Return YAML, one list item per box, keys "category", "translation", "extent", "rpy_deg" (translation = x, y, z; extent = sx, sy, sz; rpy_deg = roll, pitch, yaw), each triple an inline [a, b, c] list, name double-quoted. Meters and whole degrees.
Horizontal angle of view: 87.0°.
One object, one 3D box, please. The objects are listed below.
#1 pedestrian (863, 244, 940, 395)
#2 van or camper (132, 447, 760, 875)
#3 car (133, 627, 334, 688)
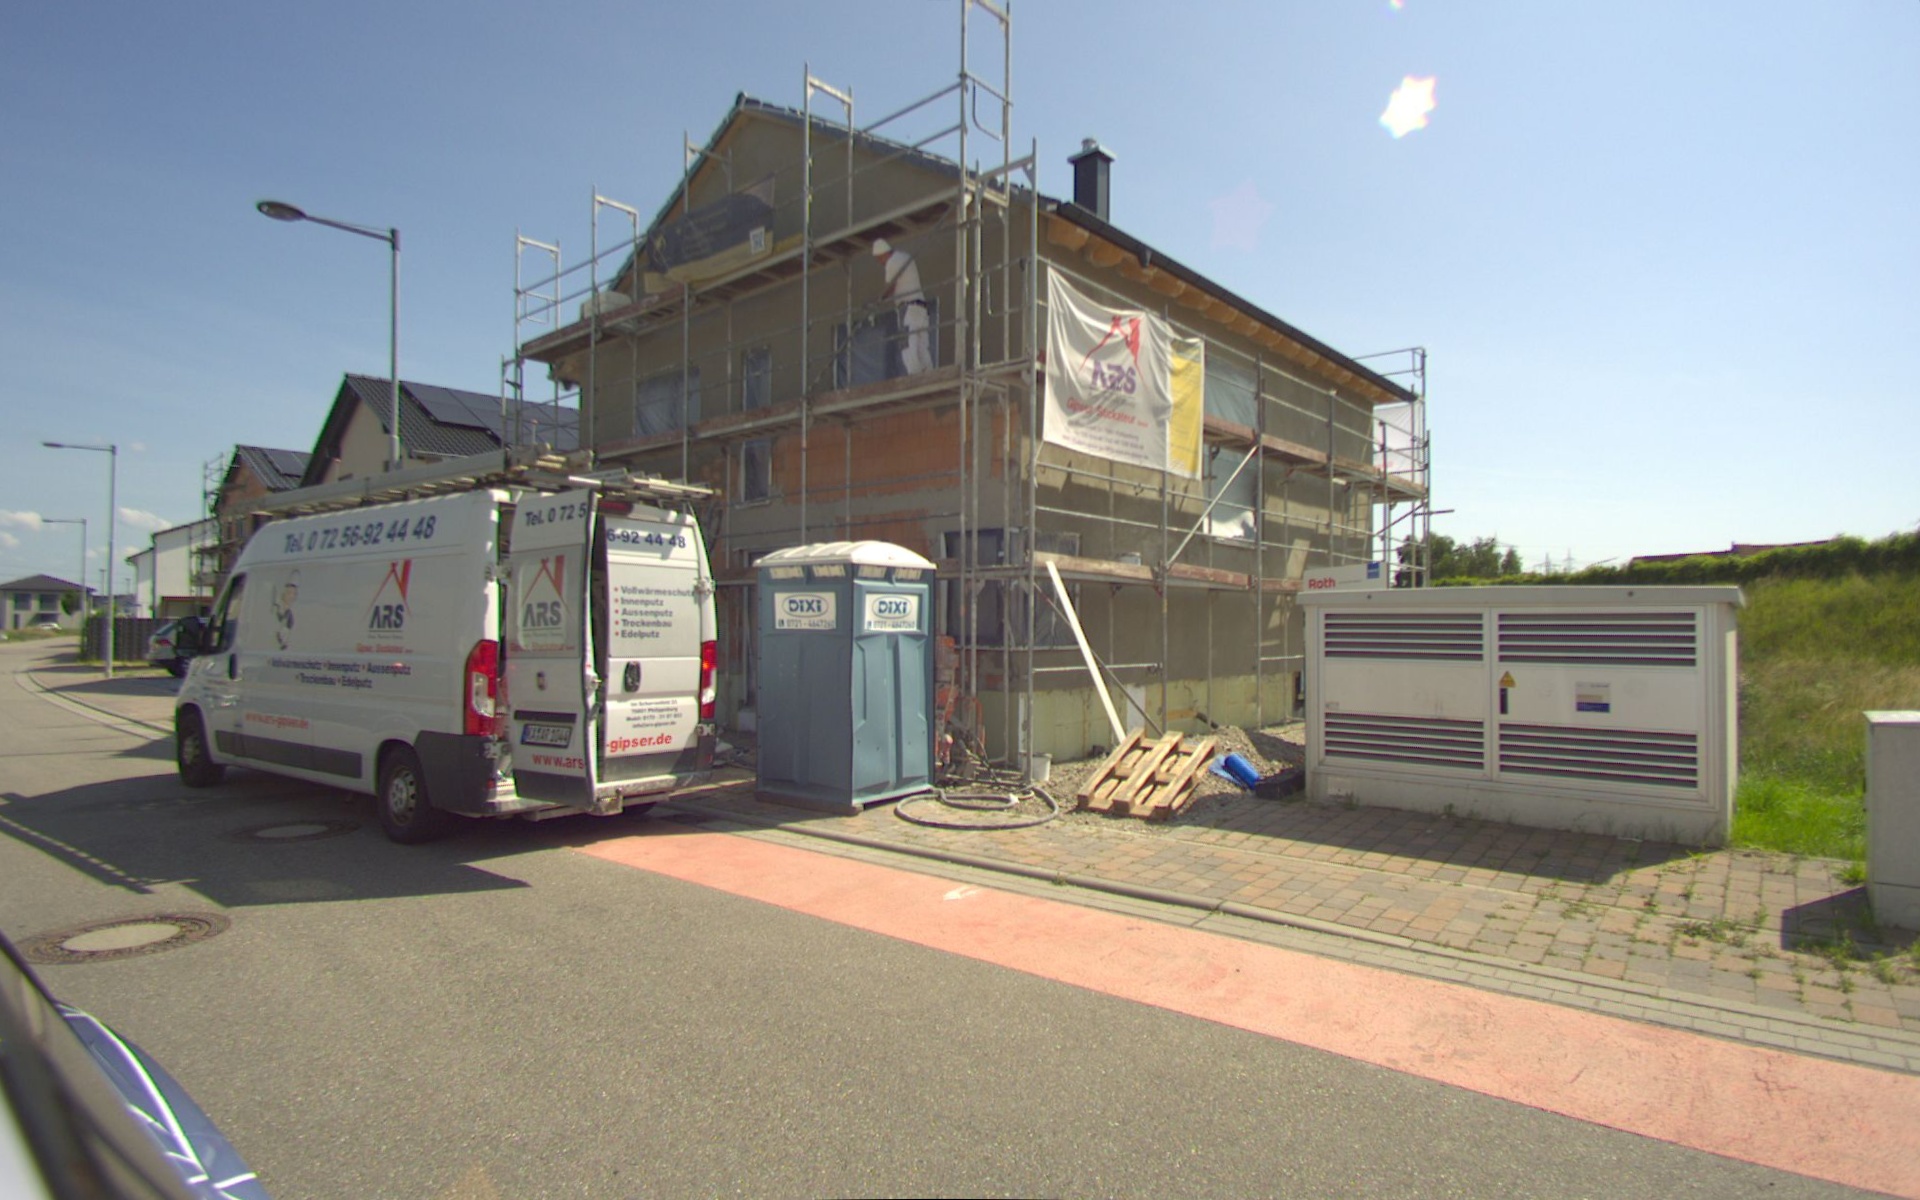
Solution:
- category: "pedestrian"
  translation: [-0.635, -3.084, 11.196]
  extent: [0.739, 1.511, 0.562]
  rpy_deg: [2, -1, 5]
- category: "van or camper"
  translation: [-4.792, 0.424, 8.879]
  extent: [6.354, 2.573, 2.252]
  rpy_deg: [-1, -2, 36]
- category: "car"
  translation: [-20.971, 1.626, 29.348]
  extent: [2.000, 1.624, 4.377]
  rpy_deg: [-2, -3, 42]
